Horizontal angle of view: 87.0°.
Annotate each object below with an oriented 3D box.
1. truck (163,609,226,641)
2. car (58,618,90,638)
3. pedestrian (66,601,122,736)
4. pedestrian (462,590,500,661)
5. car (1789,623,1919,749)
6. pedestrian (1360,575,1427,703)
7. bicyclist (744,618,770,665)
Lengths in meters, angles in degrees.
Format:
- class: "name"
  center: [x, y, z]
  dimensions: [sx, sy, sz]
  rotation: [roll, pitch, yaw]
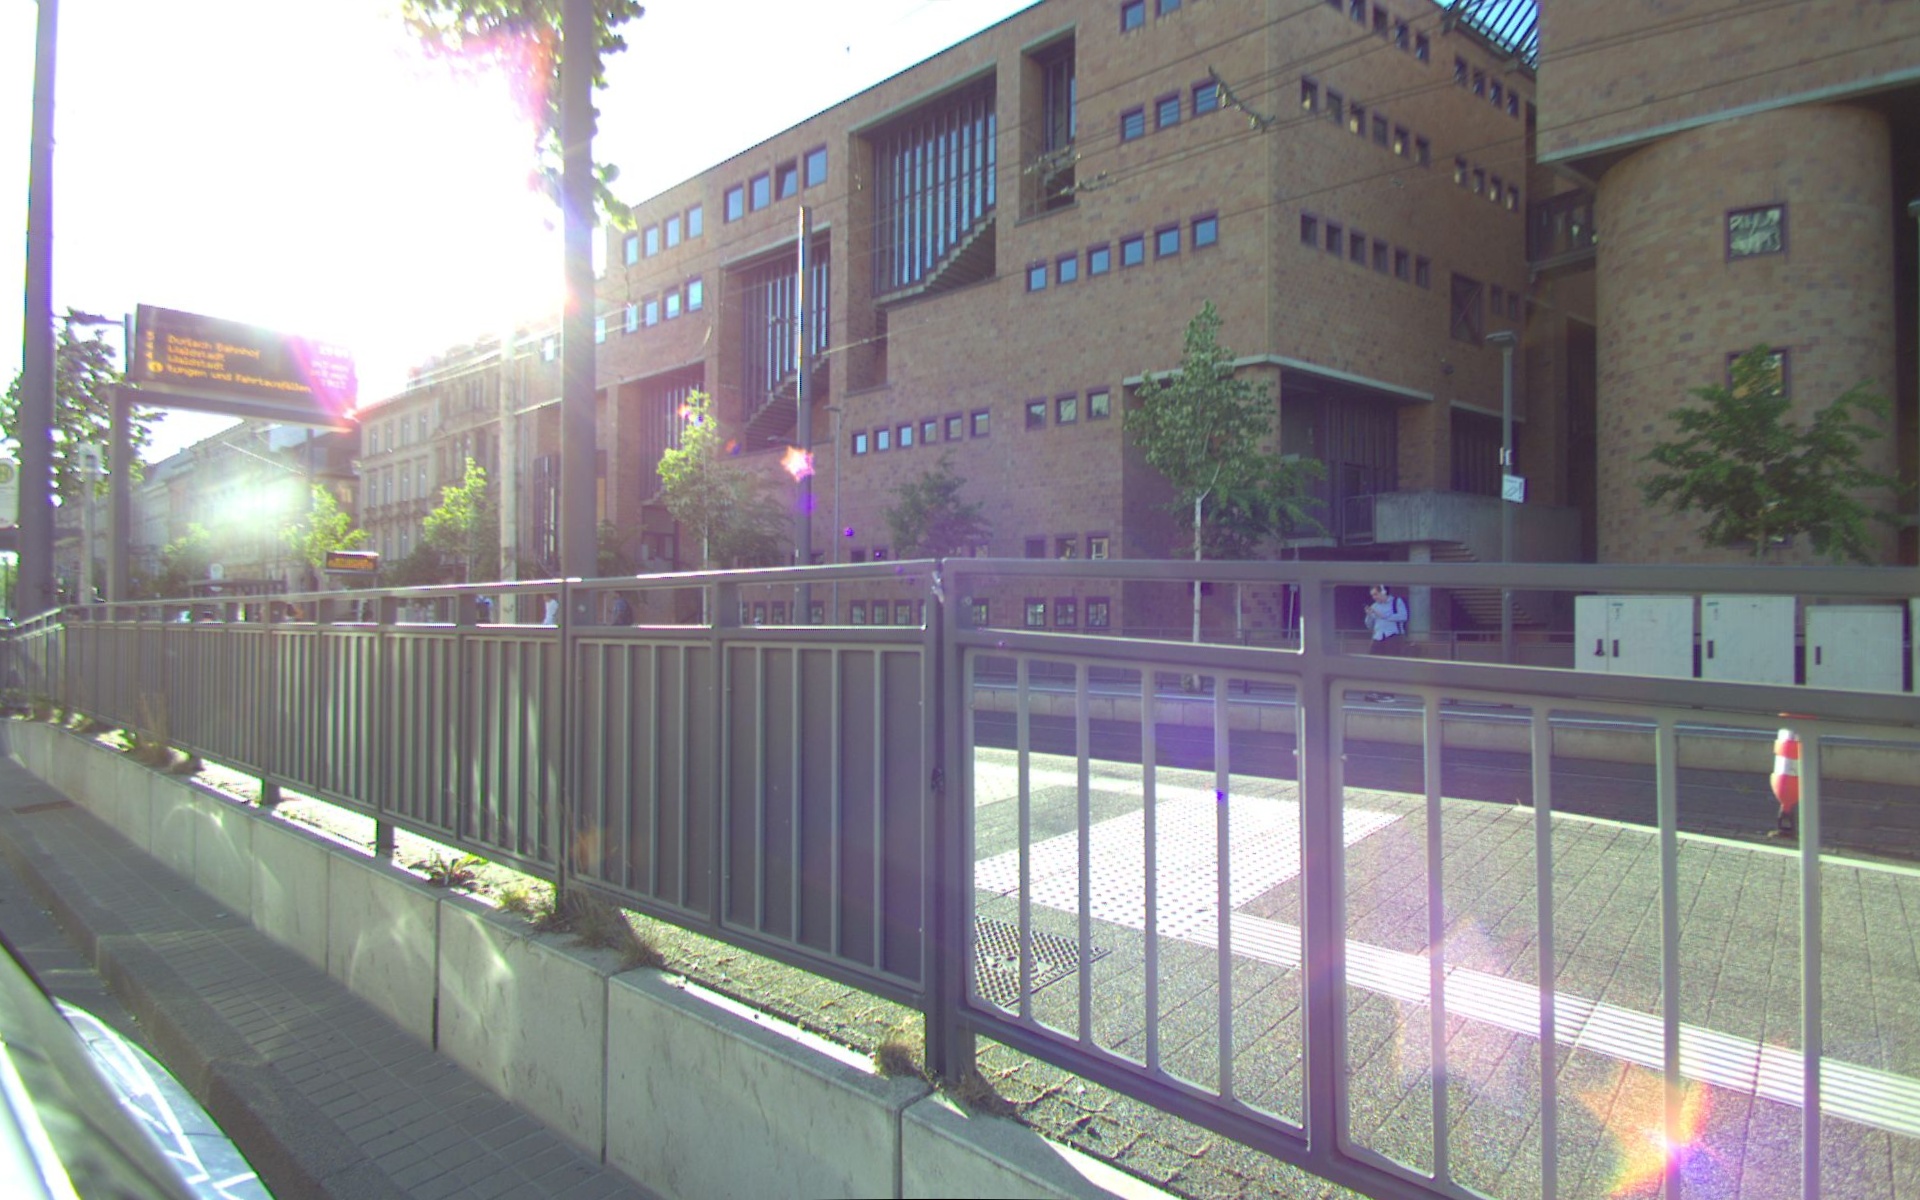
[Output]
- class: "truck"
  center: [-47.706, 1.574, 63.036]
  dimensions: [5.151, 1.894, 1.973]
  rotation: [-2, -4, 40]
- class: "car"
  center: [-78.795, 2.475, 89.958]
  dimensions: [3.445, 1.639, 1.634]
  rotation: [0, 0, 40]
- class: "pedestrian"
  center: [-16.318, 1.261, 19.066]
  dimensions: [0.625, 2.461, 0.676]
  rotation: [0, 0, 38]
- class: "pedestrian"
  center: [-12.502, 0.643, 26.409]
  dimensions: [0.668, 1.821, 0.677]
  rotation: [0, 0, 40]
- class: "car"
  center: [12.520, 0.982, 11.611]
  dimensions: [4.522, 1.441, 1.808]
  rotation: [-1, -2, 37]
- class: "pedestrian"
  center: [5.760, 0.501, 13.447]
  dimensions: [0.684, 1.647, 0.660]
  rotation: [0, 0, 37]
- class: "bicyclist"
  center: [-6.872, 1.391, 34.330]
  dimensions: [0.650, 1.545, 0.580]
  rotation: [0, 0, 41]
